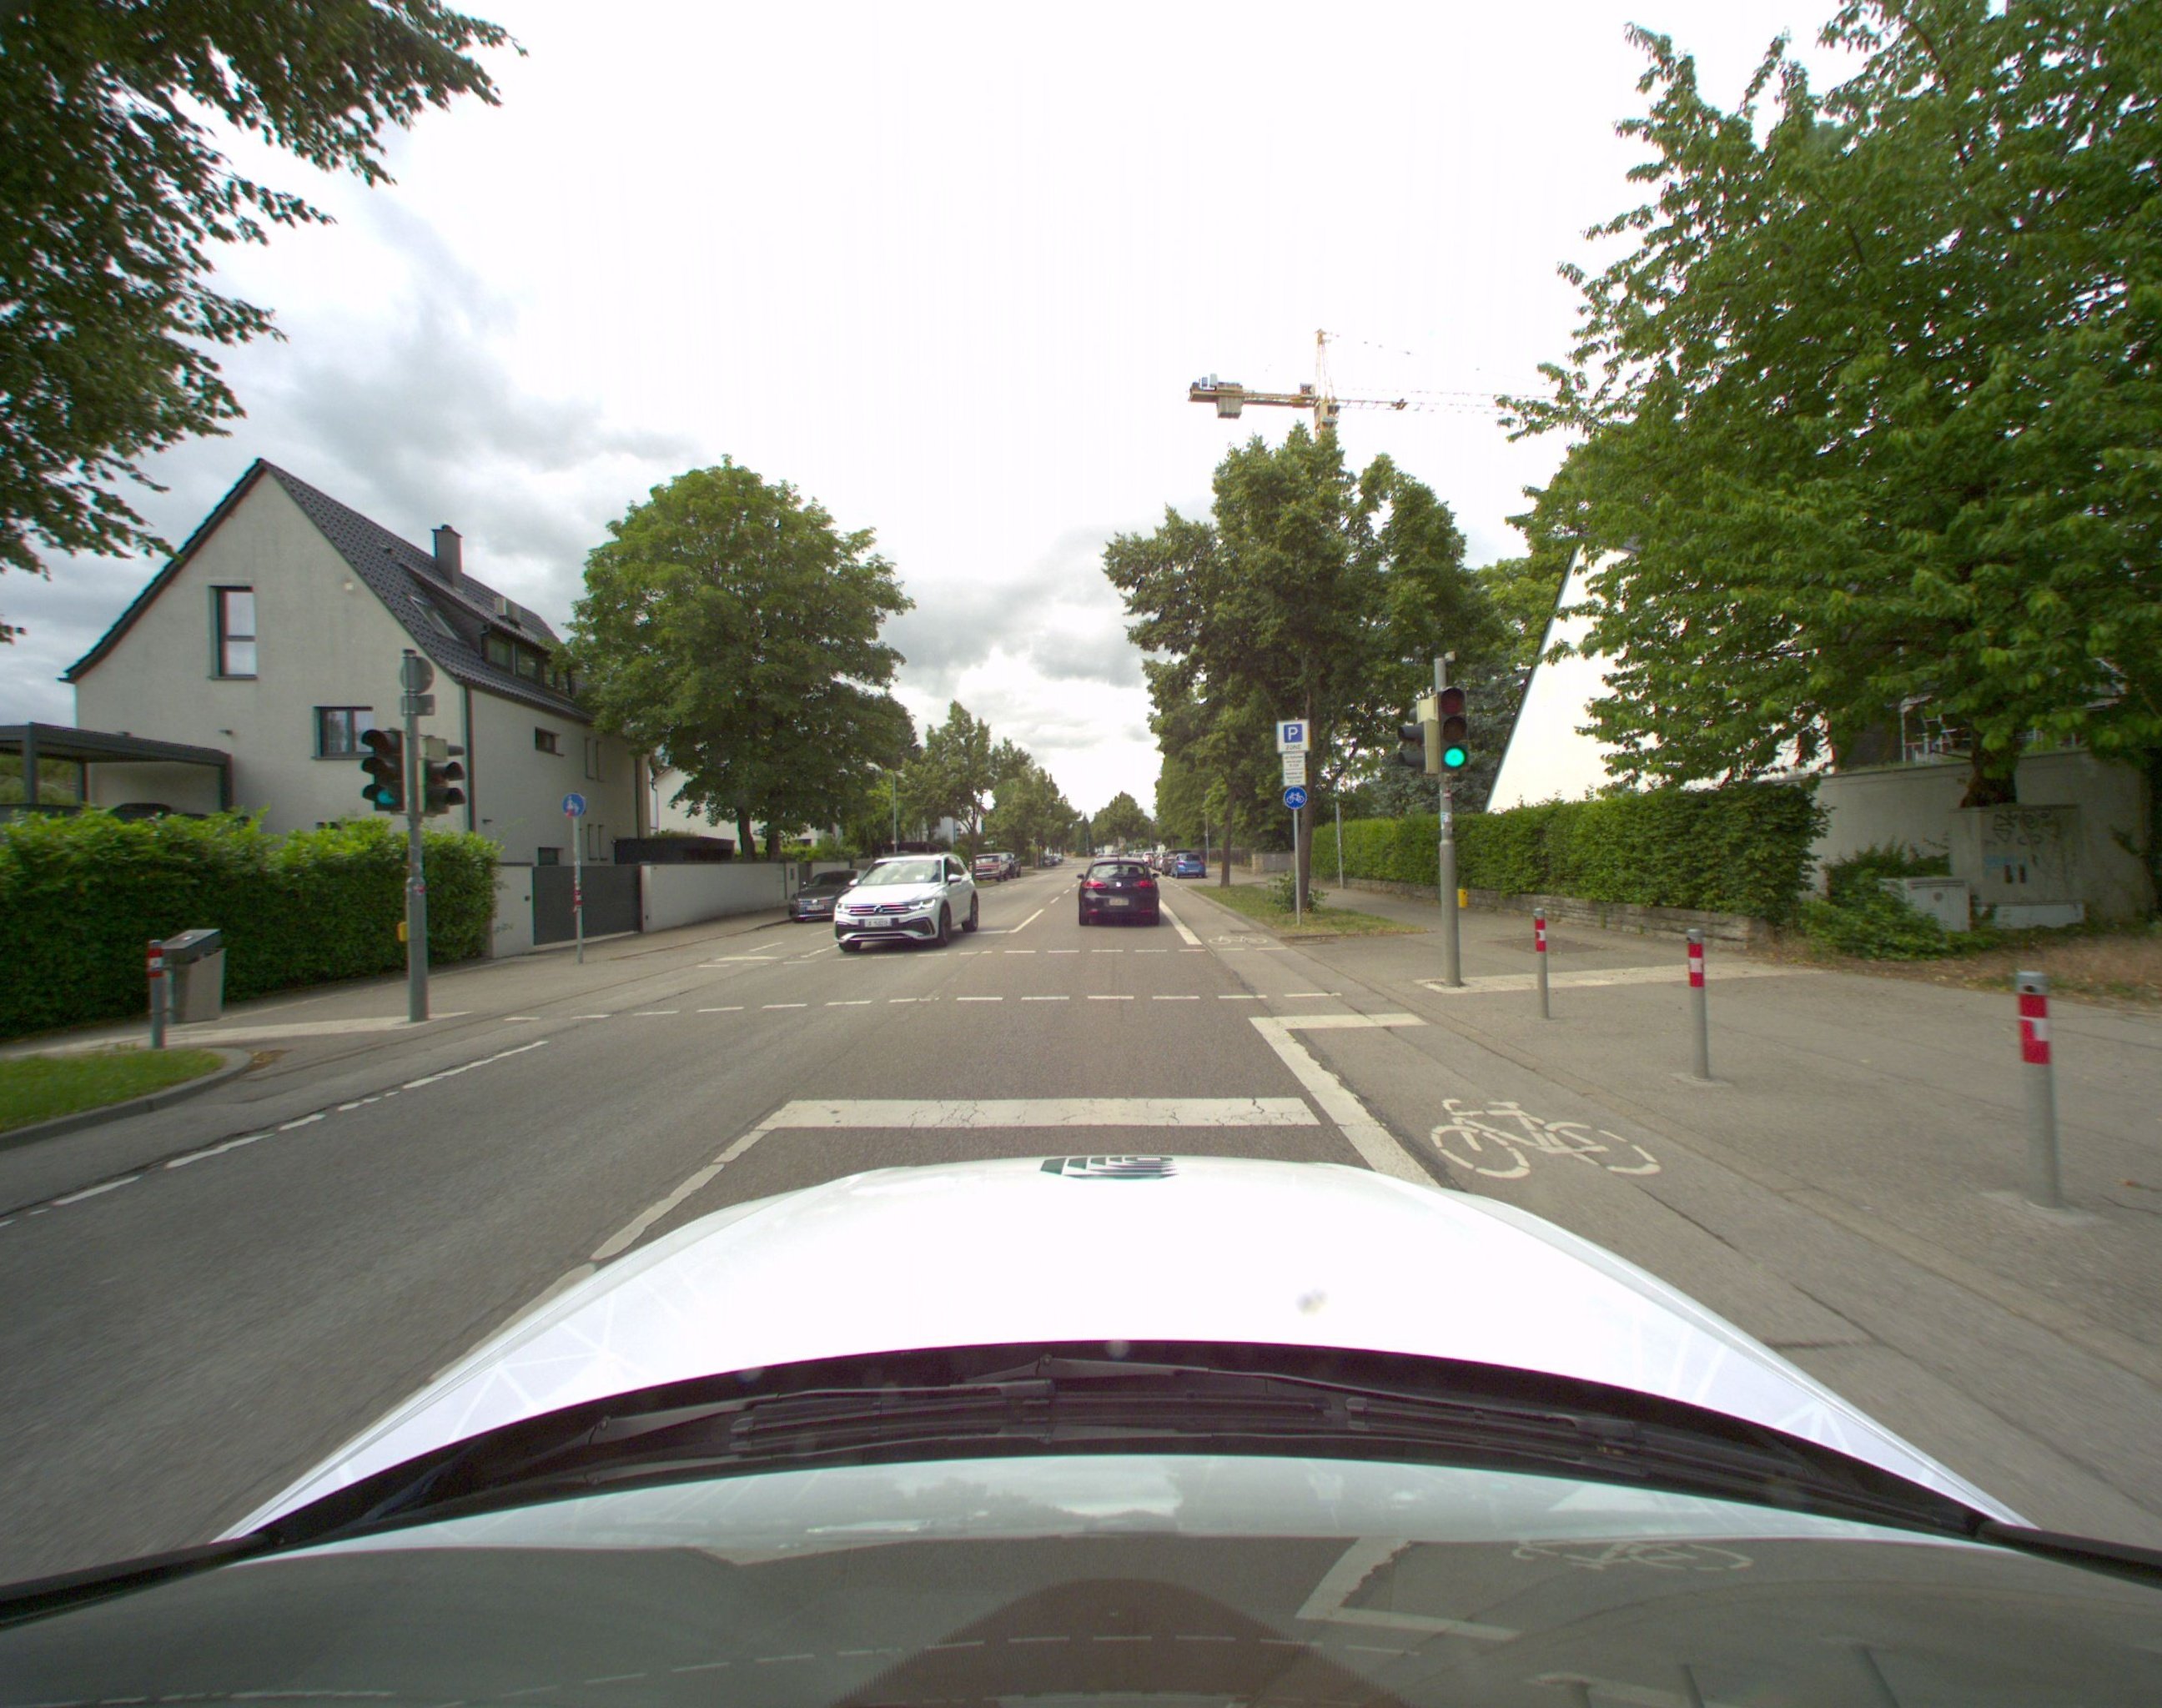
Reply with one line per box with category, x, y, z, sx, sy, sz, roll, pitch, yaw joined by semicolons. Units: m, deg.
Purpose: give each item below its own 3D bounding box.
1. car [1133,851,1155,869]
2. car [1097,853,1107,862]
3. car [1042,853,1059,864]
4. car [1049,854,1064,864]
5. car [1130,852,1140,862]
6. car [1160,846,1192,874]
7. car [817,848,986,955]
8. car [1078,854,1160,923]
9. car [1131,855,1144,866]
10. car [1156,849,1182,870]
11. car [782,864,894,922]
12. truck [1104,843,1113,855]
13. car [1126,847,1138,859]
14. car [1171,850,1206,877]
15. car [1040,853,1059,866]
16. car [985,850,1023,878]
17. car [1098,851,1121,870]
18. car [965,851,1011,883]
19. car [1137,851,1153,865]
car;5.517;0.515;71.696;1.682;1.564;4.215;-2;0;1
car;4.074;0.589;159.510;1.874;1.689;4.215;-2;0;1
car;-4.543;0.673;123.524;2.092;1.506;5.786;-3;0;1
car;-4.296;0.878;144.042;2.092;1.506;5.786;-3;0;1
car;10.829;0.618;163.947;1.682;1.875;4.215;-2;0;1
car;6.130;0.374;53.020;1.682;1.711;4.215;-2;0;1
car;-3.158;0.765;15.318;1.867;1.635;4.344;-3;0;3
car;0.784;0.704;18.539;1.657;1.401;3.811;0;0;0
car;8.386;0.936;120.649;1.682;1.564;4.215;-2;0;1
car;7.099;0.423;65.780;1.682;1.564;4.215;-2;0;1
car;-7.102;1.090;24.344;1.712;1.395;4.802;-3;0;1
truck;7.349;-1.357;219.133;2.271;3.104;8.511;0;0;1
car;8.012;-0.166;127.429;1.682;1.875;4.215;-2;0;1
car;6.271;0.549;47.843;1.682;1.490;3.356;-2;0;1
car;-4.293;0.724;110.741;2.092;1.506;5.786;-3;0;1
car;-5.705;0.719;61.024;2.092;1.896;5.786;-3;0;1
car;2.428;0.524;68.075;1.838;1.510;3.815;0;0;3
car;-6.005;0.805;53.500;2.092;1.896;5.786;-3;0;1
car;7.564;0.462;96.184;1.682;1.564;4.215;-2;0;1
